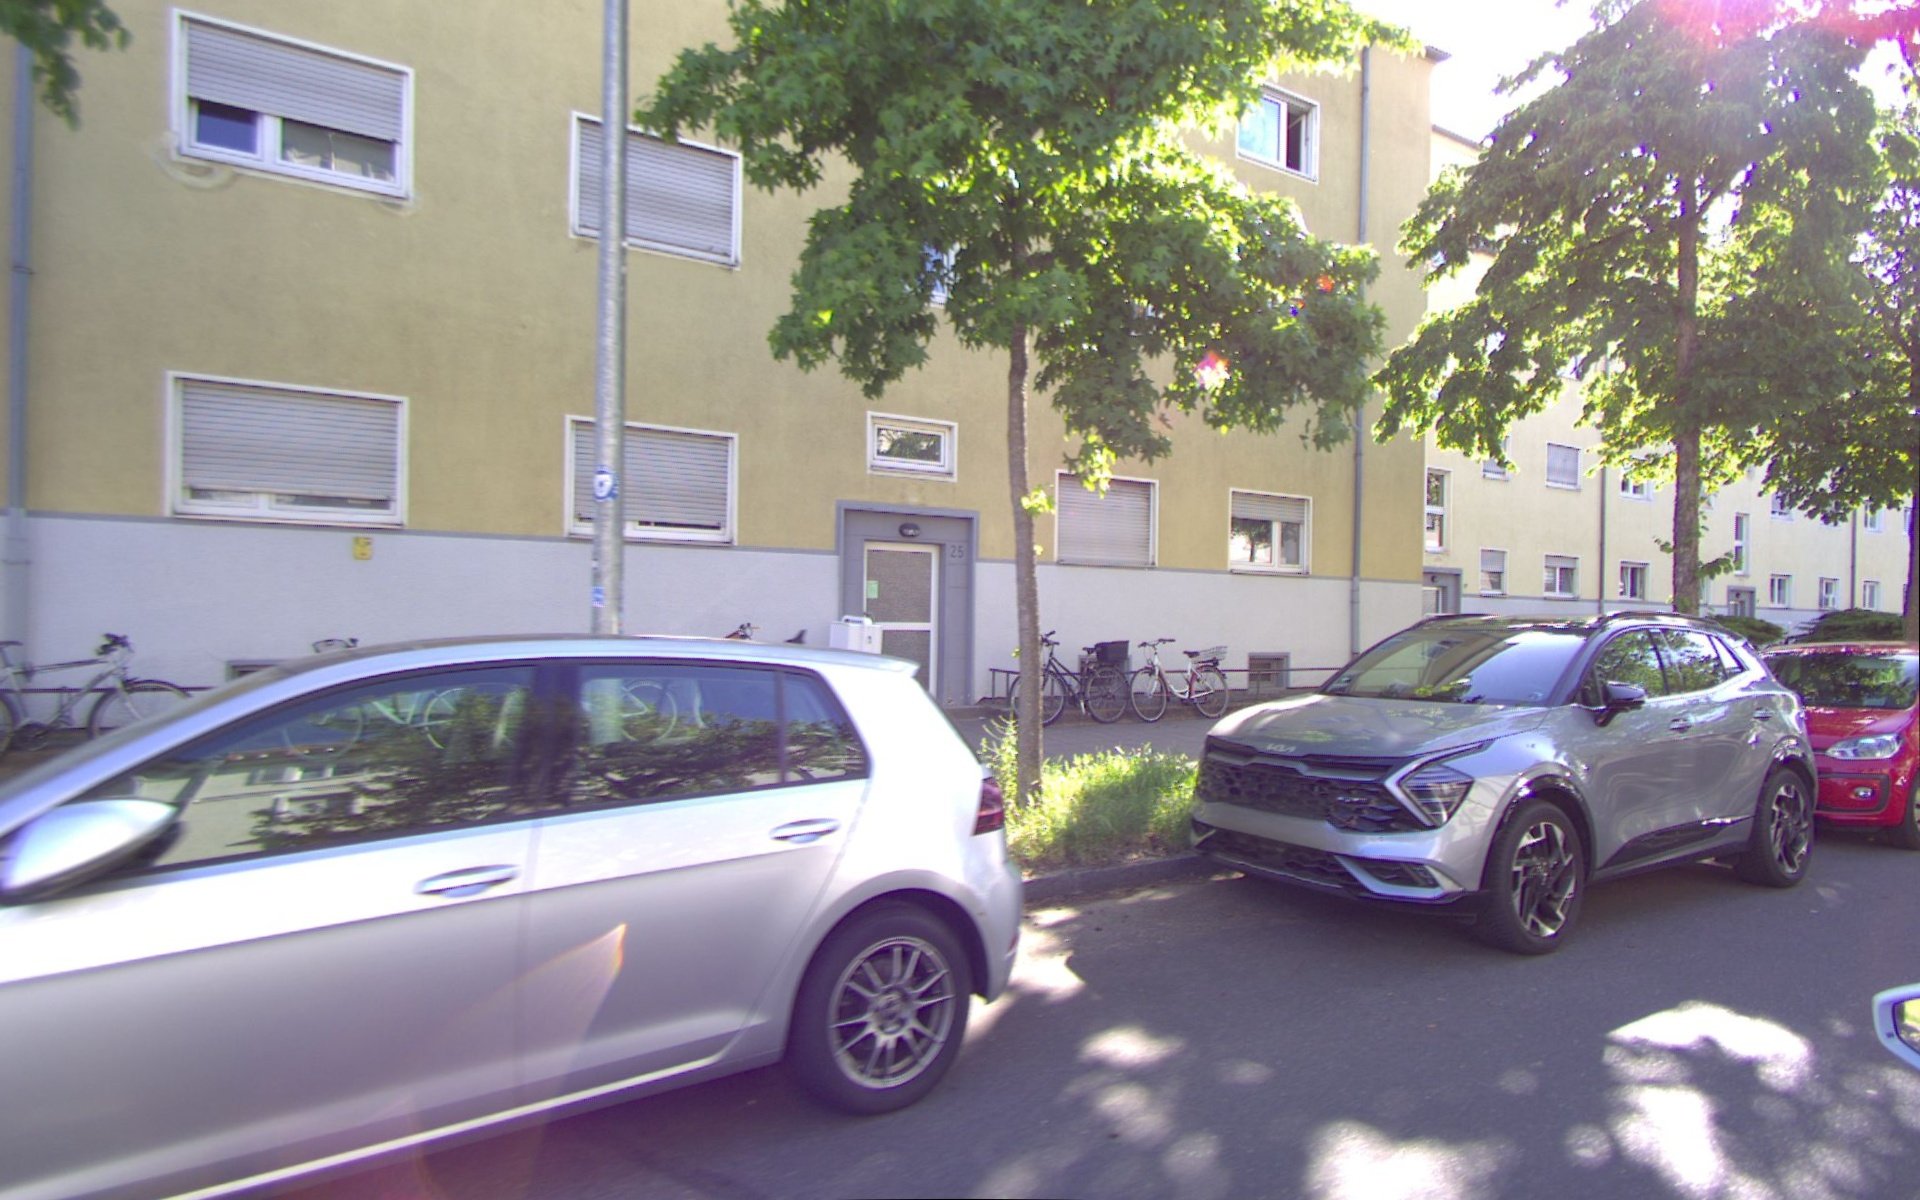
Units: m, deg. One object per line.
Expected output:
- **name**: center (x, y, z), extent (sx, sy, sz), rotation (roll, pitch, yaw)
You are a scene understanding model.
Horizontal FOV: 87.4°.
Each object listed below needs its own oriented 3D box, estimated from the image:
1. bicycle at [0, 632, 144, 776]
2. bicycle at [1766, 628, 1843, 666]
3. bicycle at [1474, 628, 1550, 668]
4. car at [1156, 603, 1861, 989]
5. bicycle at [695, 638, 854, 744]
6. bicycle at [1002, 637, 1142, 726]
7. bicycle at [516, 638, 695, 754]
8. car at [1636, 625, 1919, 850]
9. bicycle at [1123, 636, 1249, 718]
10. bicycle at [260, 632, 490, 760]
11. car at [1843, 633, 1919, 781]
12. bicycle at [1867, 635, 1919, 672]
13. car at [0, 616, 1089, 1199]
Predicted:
- **bicycle**: center (-6.977, 0.748, 7.319), extent (1.526, 1.014, 0.451), rotation (1, 0, -30)
- **bicycle**: center (27.908, 1.546, 33.232), extent (0.481, 1.095, 1.828), rotation (5, 0, -33)
- **bicycle**: center (13.797, 1.189, 25.148), extent (0.477, 0.943, 1.620), rotation (1, -1, -37)
- **car**: center (3.509, 0.850, 6.089), extent (4.683, 1.586, 1.682), rotation (1, -1, -32)
- **bicycle**: center (-1.893, 0.904, 10.299), extent (1.525, 1.014, 0.513), rotation (1, 0, -27)
- **bicycle**: center (1.407, 0.989, 12.521), extent (1.727, 1.040, 0.538), rotation (1, 0, -29)
- **bicycle**: center (-3.342, 0.872, 9.517), extent (1.526, 1.014, 0.509), rotation (1, 0, -30)
- **car**: center (7.402, 0.990, 8.404), extent (3.217, 1.505, 1.657), rotation (1, -1, -30)
- **bicycle**: center (3.049, 1.010, 13.497), extent (1.726, 1.040, 0.533), rotation (1, 0, -29)
- **bicycle**: center (-4.995, 0.794, 8.664), extent (1.661, 1.014, 0.432), rotation (1, 0, -30)
- **car**: center (11.509, 1.126, 10.974), extent (3.886, 1.478, 1.657), rotation (1, -1, -30)
- **bicycle**: center (29.220, 1.641, 30.948), extent (0.481, 1.095, 1.829), rotation (1, -1, -32)
- **car**: center (-1.679, 0.803, 3.097), extent (3.952, 1.461, 1.749), rotation (1, -1, -34)
